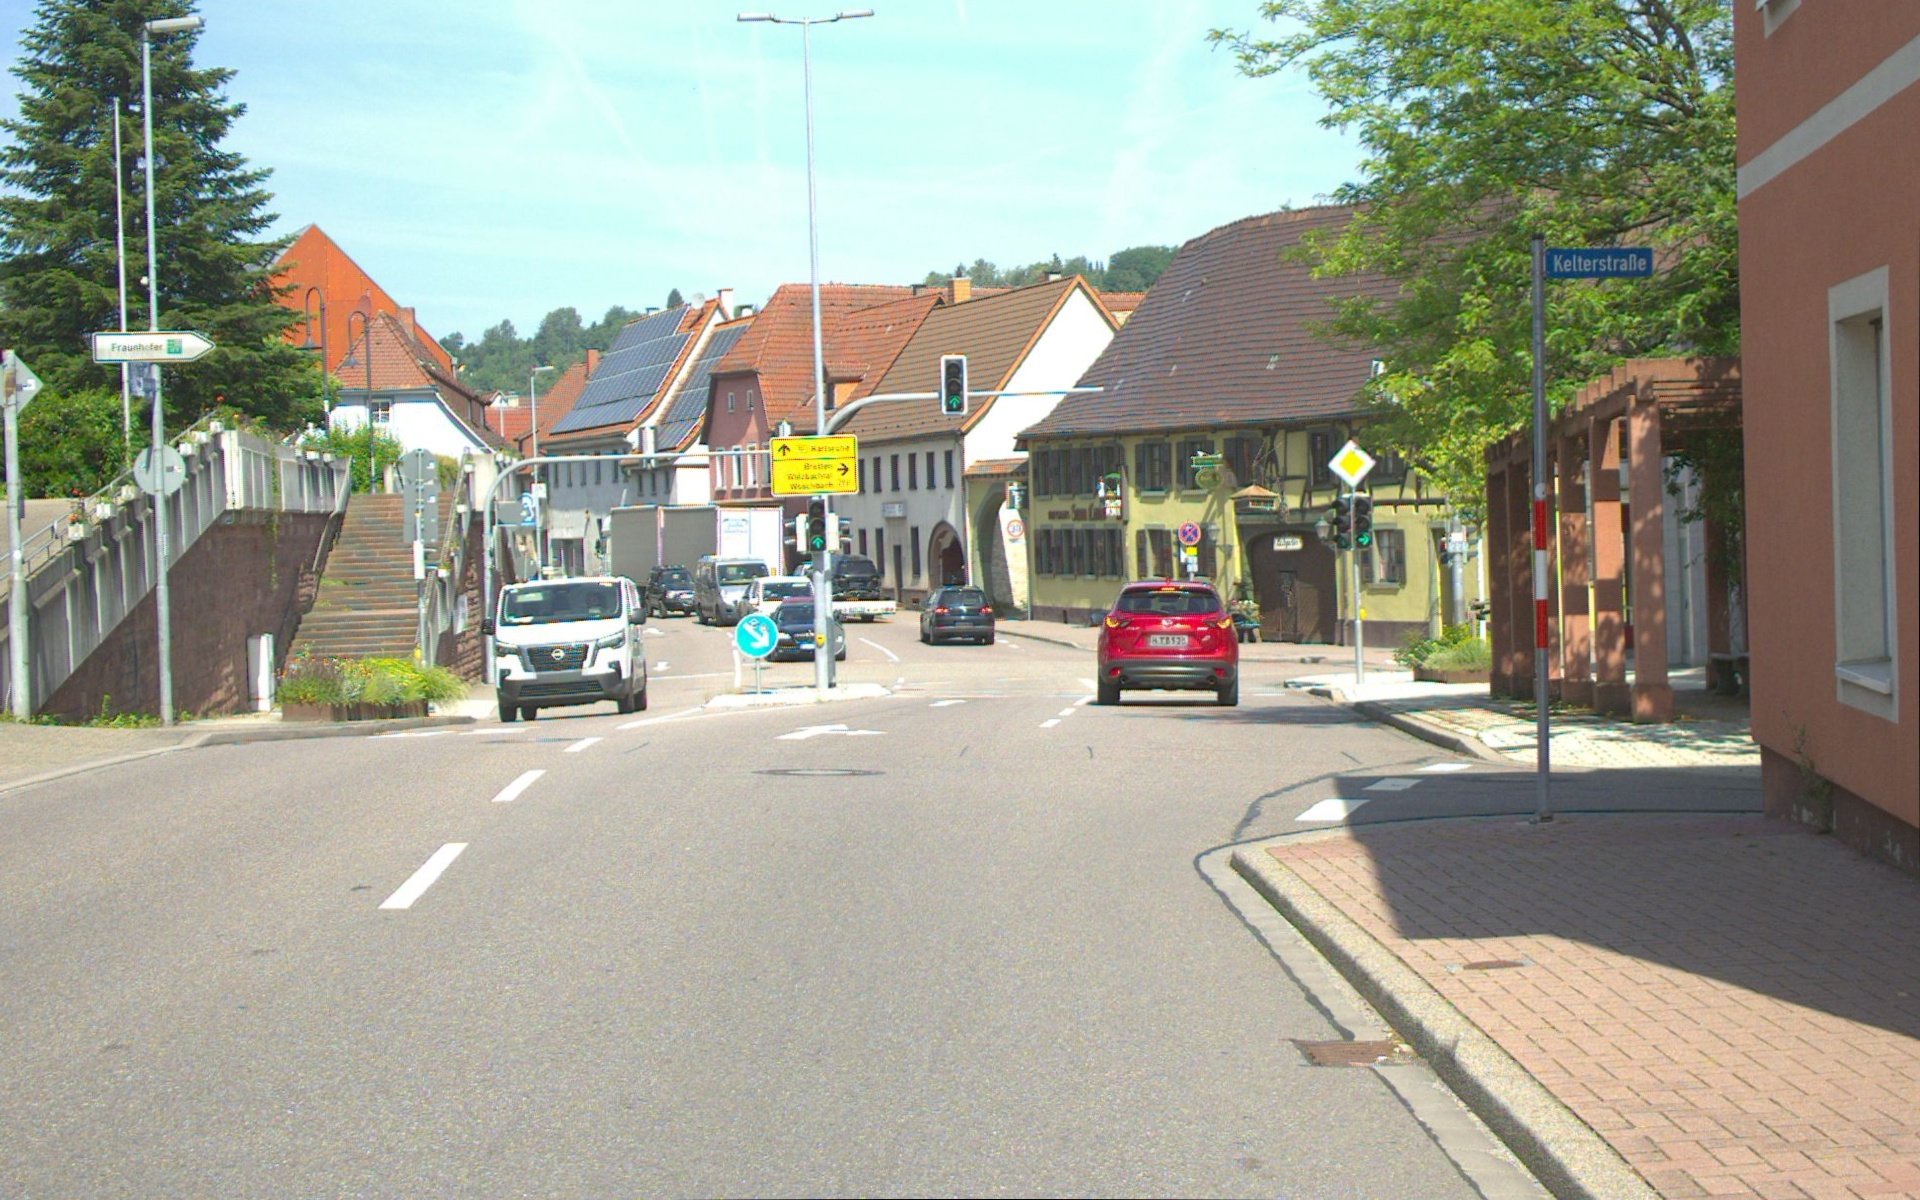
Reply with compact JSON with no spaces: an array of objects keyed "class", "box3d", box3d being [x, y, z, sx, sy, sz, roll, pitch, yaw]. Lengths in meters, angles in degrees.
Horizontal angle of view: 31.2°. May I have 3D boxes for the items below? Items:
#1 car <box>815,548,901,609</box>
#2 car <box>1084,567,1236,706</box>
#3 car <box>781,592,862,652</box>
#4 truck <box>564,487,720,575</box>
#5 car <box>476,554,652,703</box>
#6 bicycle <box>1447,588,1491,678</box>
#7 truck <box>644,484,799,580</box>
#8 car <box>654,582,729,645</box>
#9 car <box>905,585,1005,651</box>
[{"class":"car","box3d":[-3.488,-0.737,116.723,1.846,2.007,4.001,1,1,-18]},{"class":"car","box3d":[2.716,0.455,46.000,1.805,1.657,3.812,-2,1,6]},{"class":"car","box3d":[-3.556,0.546,88.934,1.820,1.429,4.248,-1,1,1]},{"class":"truck","box3d":[-13.220,-2.767,141.892,3.159,3.448,10.714,1,0,-24]},{"class":"car","box3d":[-5.552,0.349,48.801,1.968,1.926,5.314,-2,1,-2]},{"class":"bicycle","box3d":[7.618,0.485,51.491,0.529,1.275,1.991,-4,0,7]},{"class":"truck","box3d":[-9.279,-2.601,132.695,3.222,3.537,9.233,1,1,-22]},{"class":"car","box3d":[-9.897,0.485,126.589,1.757,2.238,4.554,1,1,-17]},{"class":"car","box3d":[-0.161,0.495,98.225,1.820,1.733,4.006,-2,1,-15]}]
